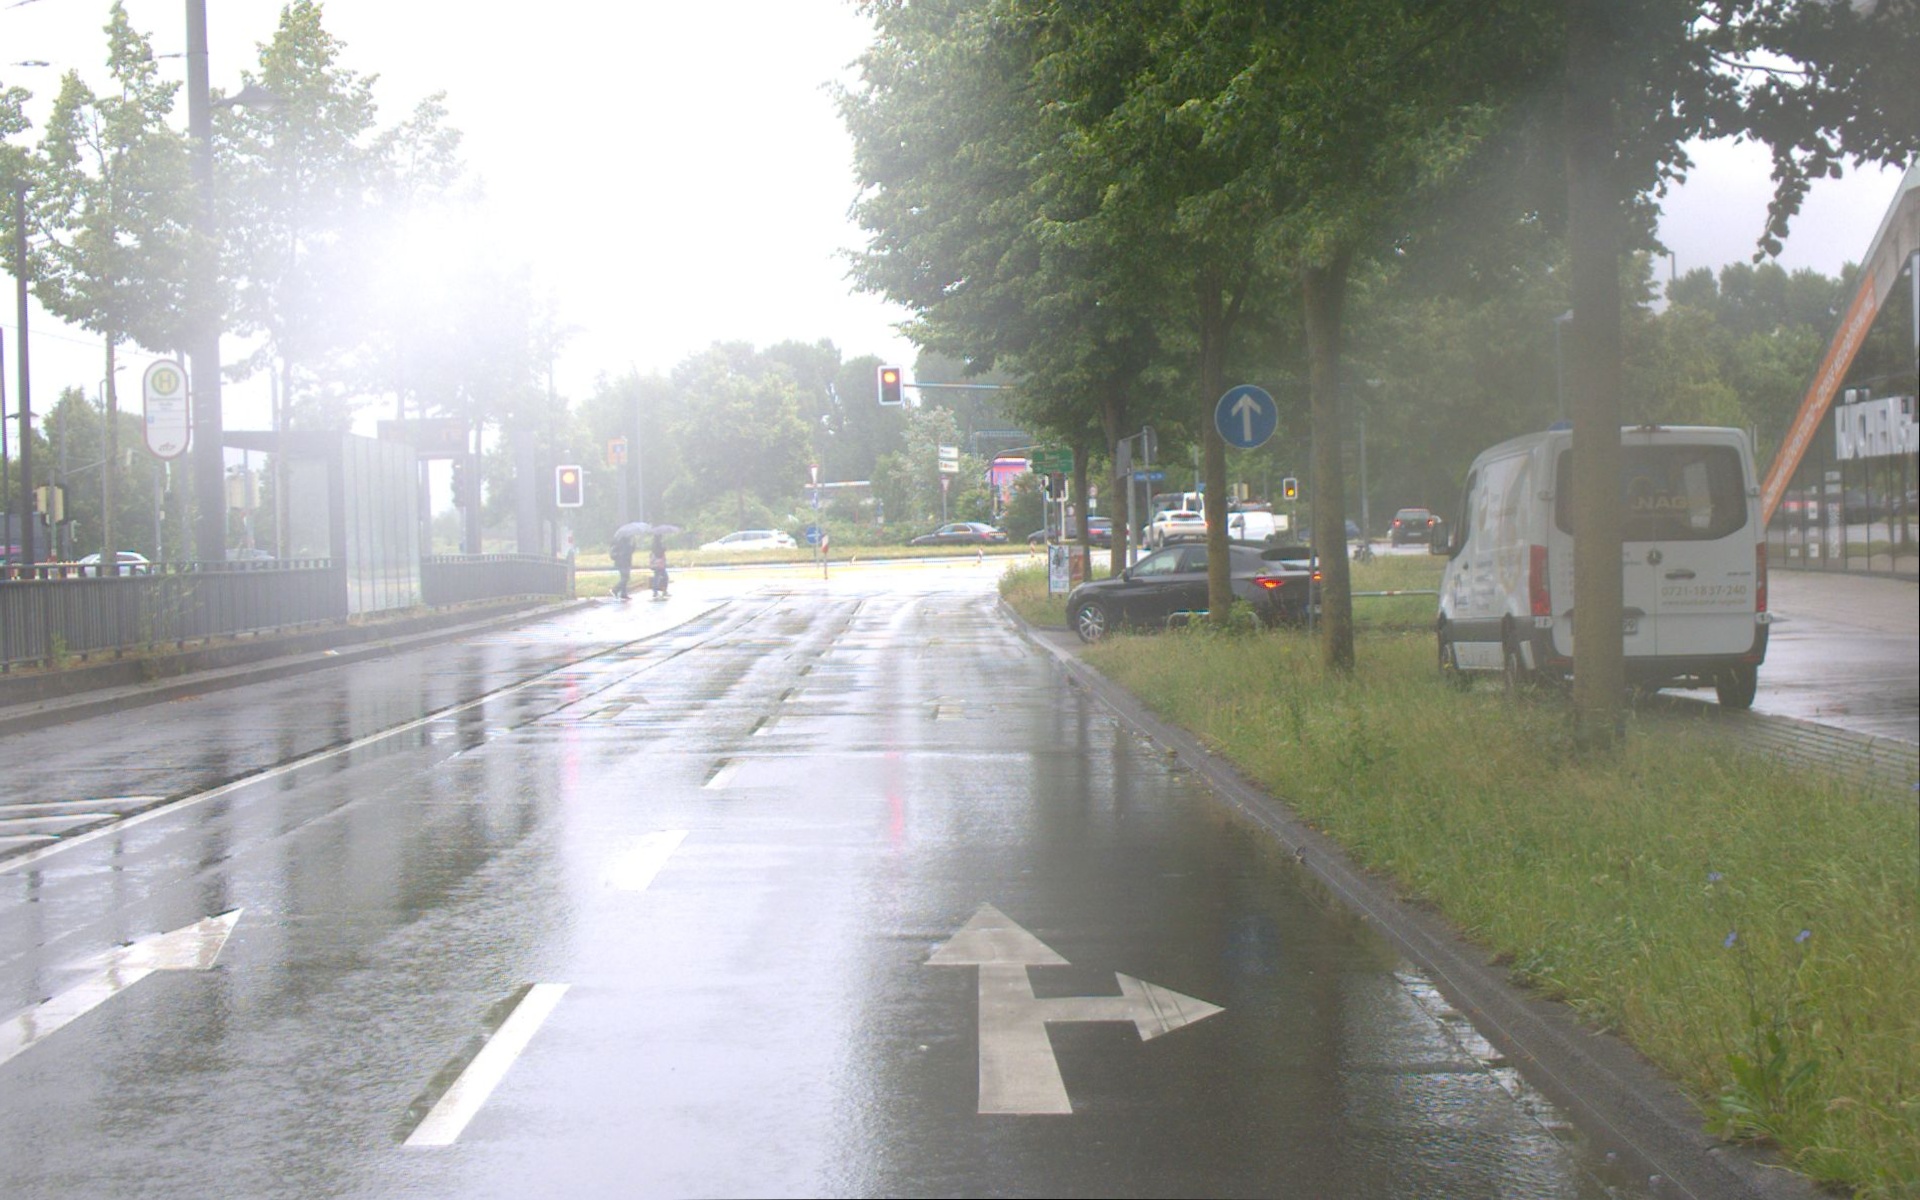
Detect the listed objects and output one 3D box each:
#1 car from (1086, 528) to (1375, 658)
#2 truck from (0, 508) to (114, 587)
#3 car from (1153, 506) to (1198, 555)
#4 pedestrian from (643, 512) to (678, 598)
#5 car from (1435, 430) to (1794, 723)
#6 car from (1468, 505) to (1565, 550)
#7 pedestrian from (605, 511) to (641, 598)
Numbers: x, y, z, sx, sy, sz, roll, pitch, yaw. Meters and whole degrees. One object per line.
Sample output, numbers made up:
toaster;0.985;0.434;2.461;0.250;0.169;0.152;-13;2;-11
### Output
car;3.616;-0.141;46.568;1.815;1.539;4.000;-4;4;-33
truck;-40.771;-2.040;137.259;3.518;3.136;14.879;-1;1;35
car;8.253;-2.671;131.920;1.623;1.694;3.456;-2;3;3
pedestrian;-7.142;-1.078;81.924;0.697;2.006;0.656;-2;3;0
car;5.540;-0.232;29.730;2.121;2.266;4.565;-2;1;-1
car;22.380;-2.900;138.222;3.450;1.694;1.626;0;4;30
pedestrian;-7.922;-1.075;80.775;0.697;2.006;0.656;-2;3;0
